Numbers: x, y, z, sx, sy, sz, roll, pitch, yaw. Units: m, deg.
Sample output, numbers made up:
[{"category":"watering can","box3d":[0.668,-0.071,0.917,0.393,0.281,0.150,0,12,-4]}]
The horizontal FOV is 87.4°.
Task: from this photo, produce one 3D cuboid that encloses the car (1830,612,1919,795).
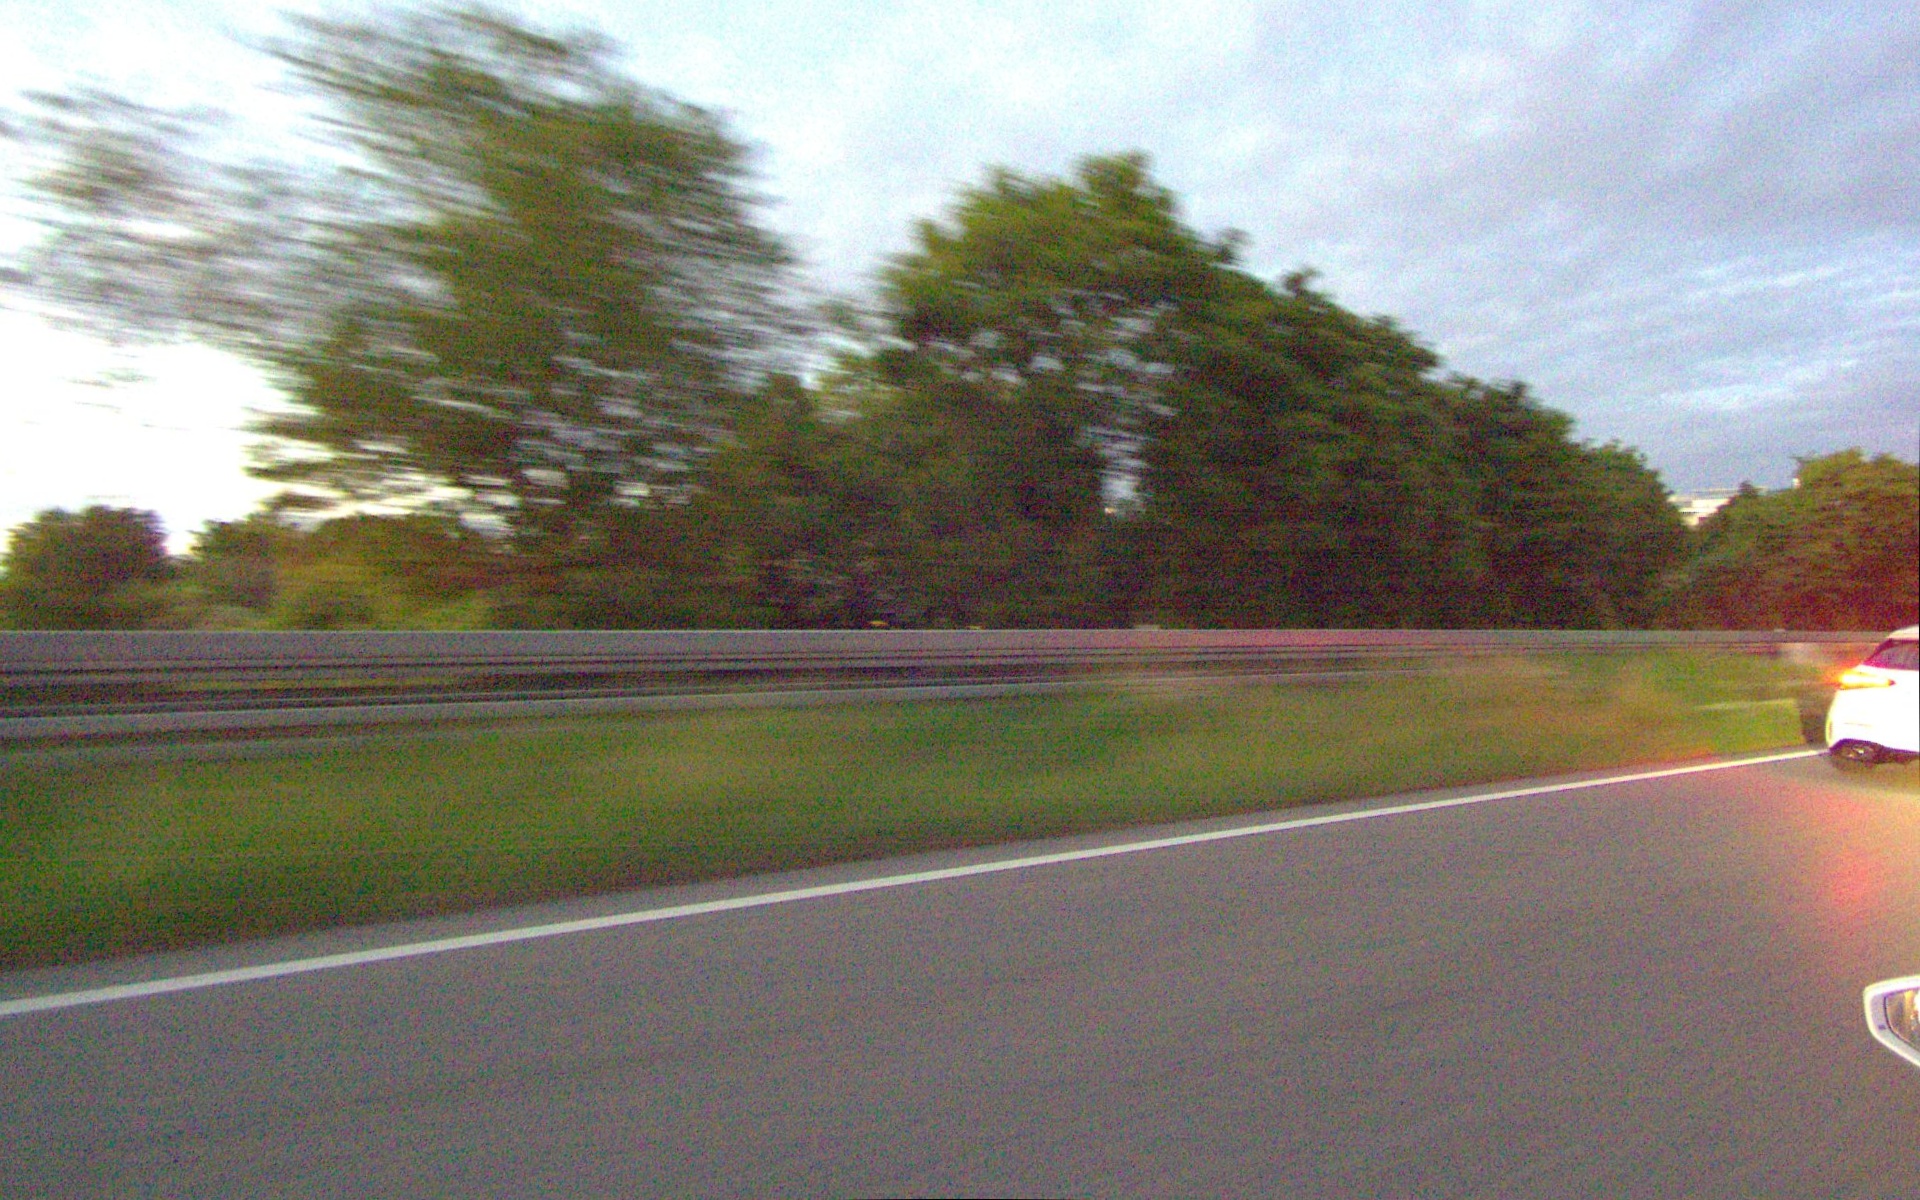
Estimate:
[{"category":"car","box3d":[10.052,0.914,9.329,4.527,1.510,1.634,1,0,-31]}]
